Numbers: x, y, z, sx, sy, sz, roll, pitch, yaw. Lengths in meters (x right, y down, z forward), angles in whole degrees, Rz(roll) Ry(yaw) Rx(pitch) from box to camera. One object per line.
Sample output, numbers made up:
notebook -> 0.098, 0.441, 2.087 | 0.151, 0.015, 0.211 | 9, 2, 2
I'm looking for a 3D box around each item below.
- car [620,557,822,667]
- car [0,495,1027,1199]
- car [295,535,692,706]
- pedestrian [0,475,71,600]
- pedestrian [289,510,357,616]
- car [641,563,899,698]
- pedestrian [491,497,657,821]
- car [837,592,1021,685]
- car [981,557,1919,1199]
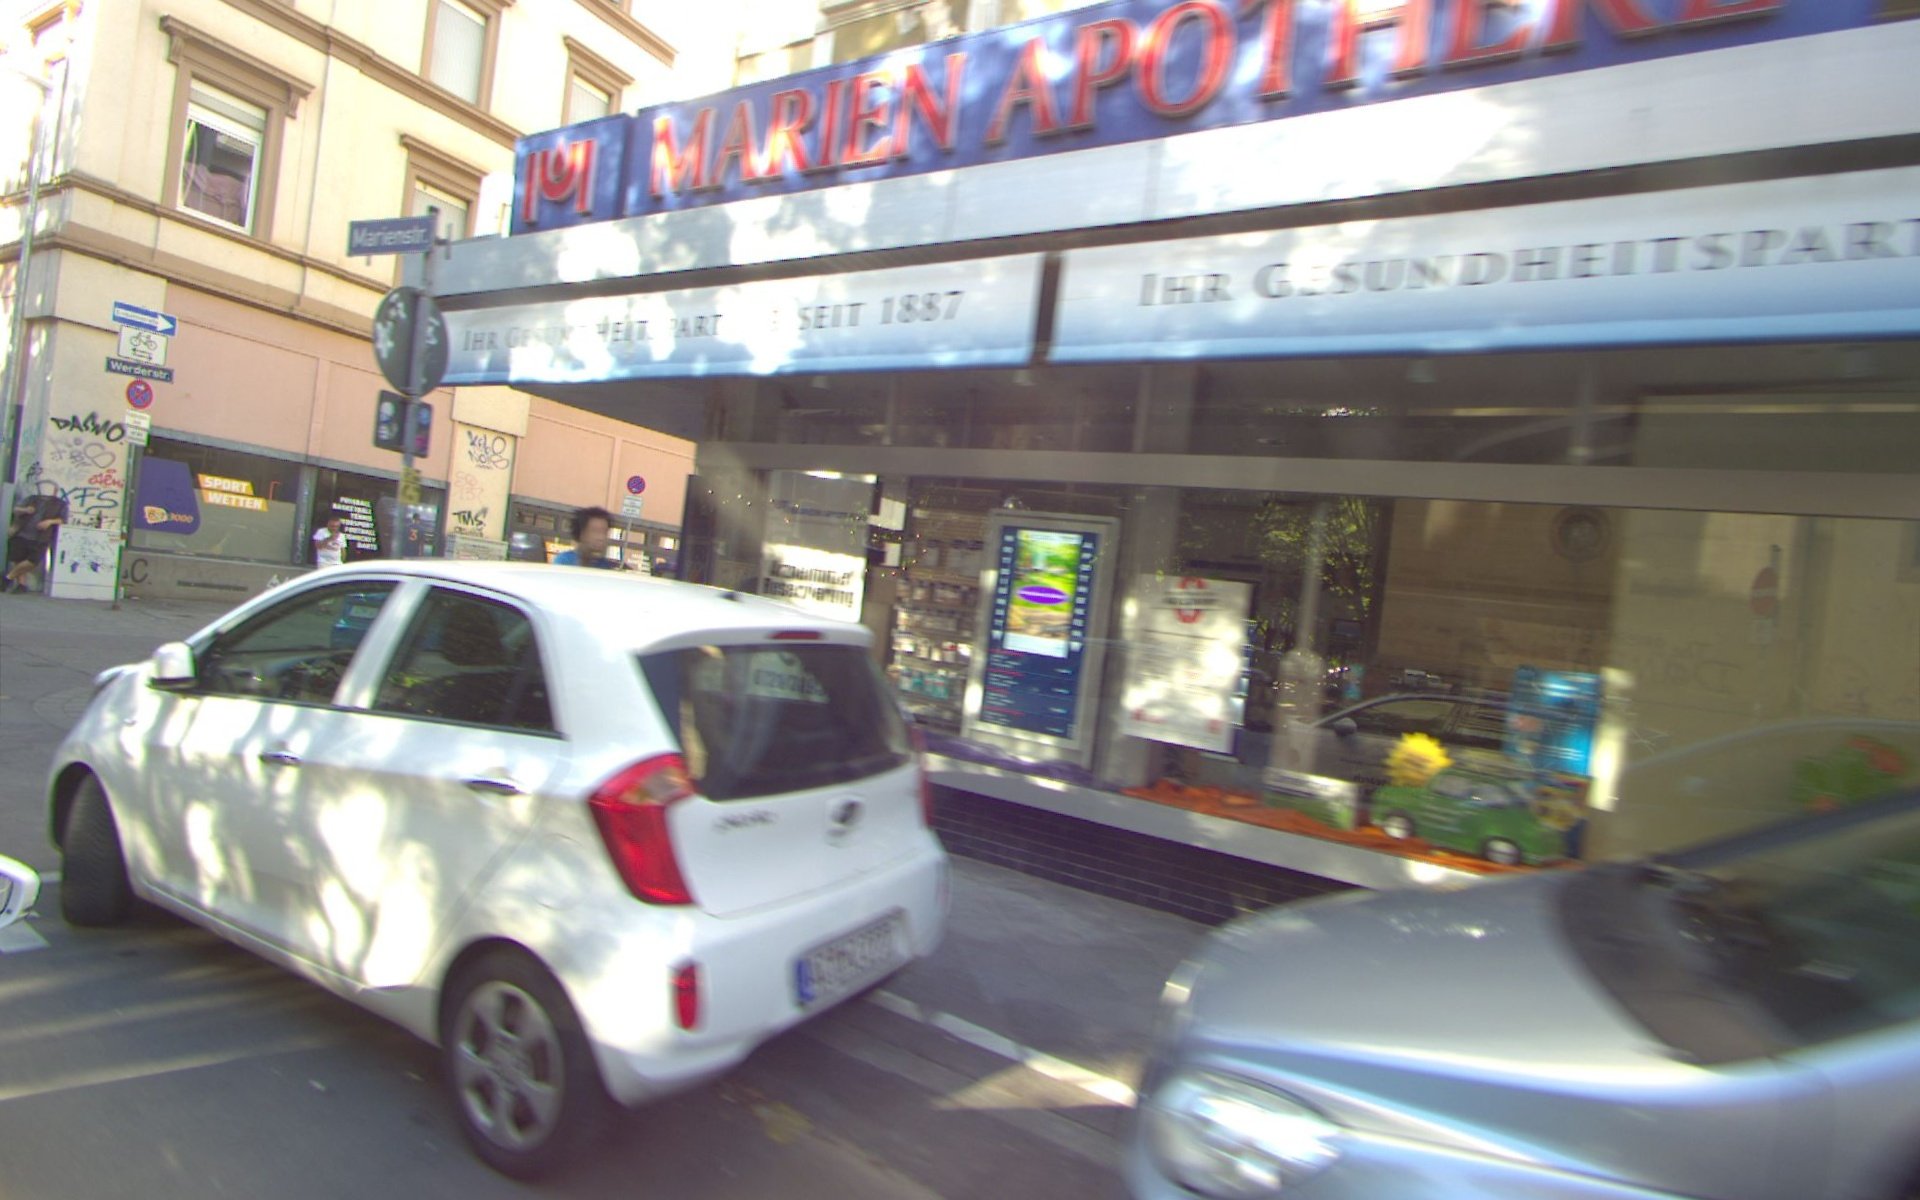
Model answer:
car -> -5.089, 0.335, 21.940 | 1.837, 1.863, 3.930 | 10, 1, 32
car -> -1.798, 0.579, 3.754 | 3.578, 1.480, 1.693 | 6, -2, 29
car -> -5.066, 0.307, 11.365 | 1.759, 1.504, 3.578 | 7, -1, 32
pedestrian -> -13.203, -0.886, 14.309 | 0.594, 1.671, 0.461 | 7, 2, -27
pedestrian -> -11.131, -0.640, 17.592 | 0.467, 1.746, 0.692 | 7, -1, 31
car -> -2.732, 0.537, 15.255 | 1.603, 1.649, 3.740 | 7, -1, 32
pedestrian -> -2.425, 0.362, 6.346 | 0.521, 1.916, 0.562 | 7, -1, 31
car -> -0.485, 0.816, 19.703 | 1.534, 1.472, 3.983 | 6, -1, 32
car -> 2.384, 1.044, 1.301 | 4.413, 1.669, 1.802 | 6, -2, 33
